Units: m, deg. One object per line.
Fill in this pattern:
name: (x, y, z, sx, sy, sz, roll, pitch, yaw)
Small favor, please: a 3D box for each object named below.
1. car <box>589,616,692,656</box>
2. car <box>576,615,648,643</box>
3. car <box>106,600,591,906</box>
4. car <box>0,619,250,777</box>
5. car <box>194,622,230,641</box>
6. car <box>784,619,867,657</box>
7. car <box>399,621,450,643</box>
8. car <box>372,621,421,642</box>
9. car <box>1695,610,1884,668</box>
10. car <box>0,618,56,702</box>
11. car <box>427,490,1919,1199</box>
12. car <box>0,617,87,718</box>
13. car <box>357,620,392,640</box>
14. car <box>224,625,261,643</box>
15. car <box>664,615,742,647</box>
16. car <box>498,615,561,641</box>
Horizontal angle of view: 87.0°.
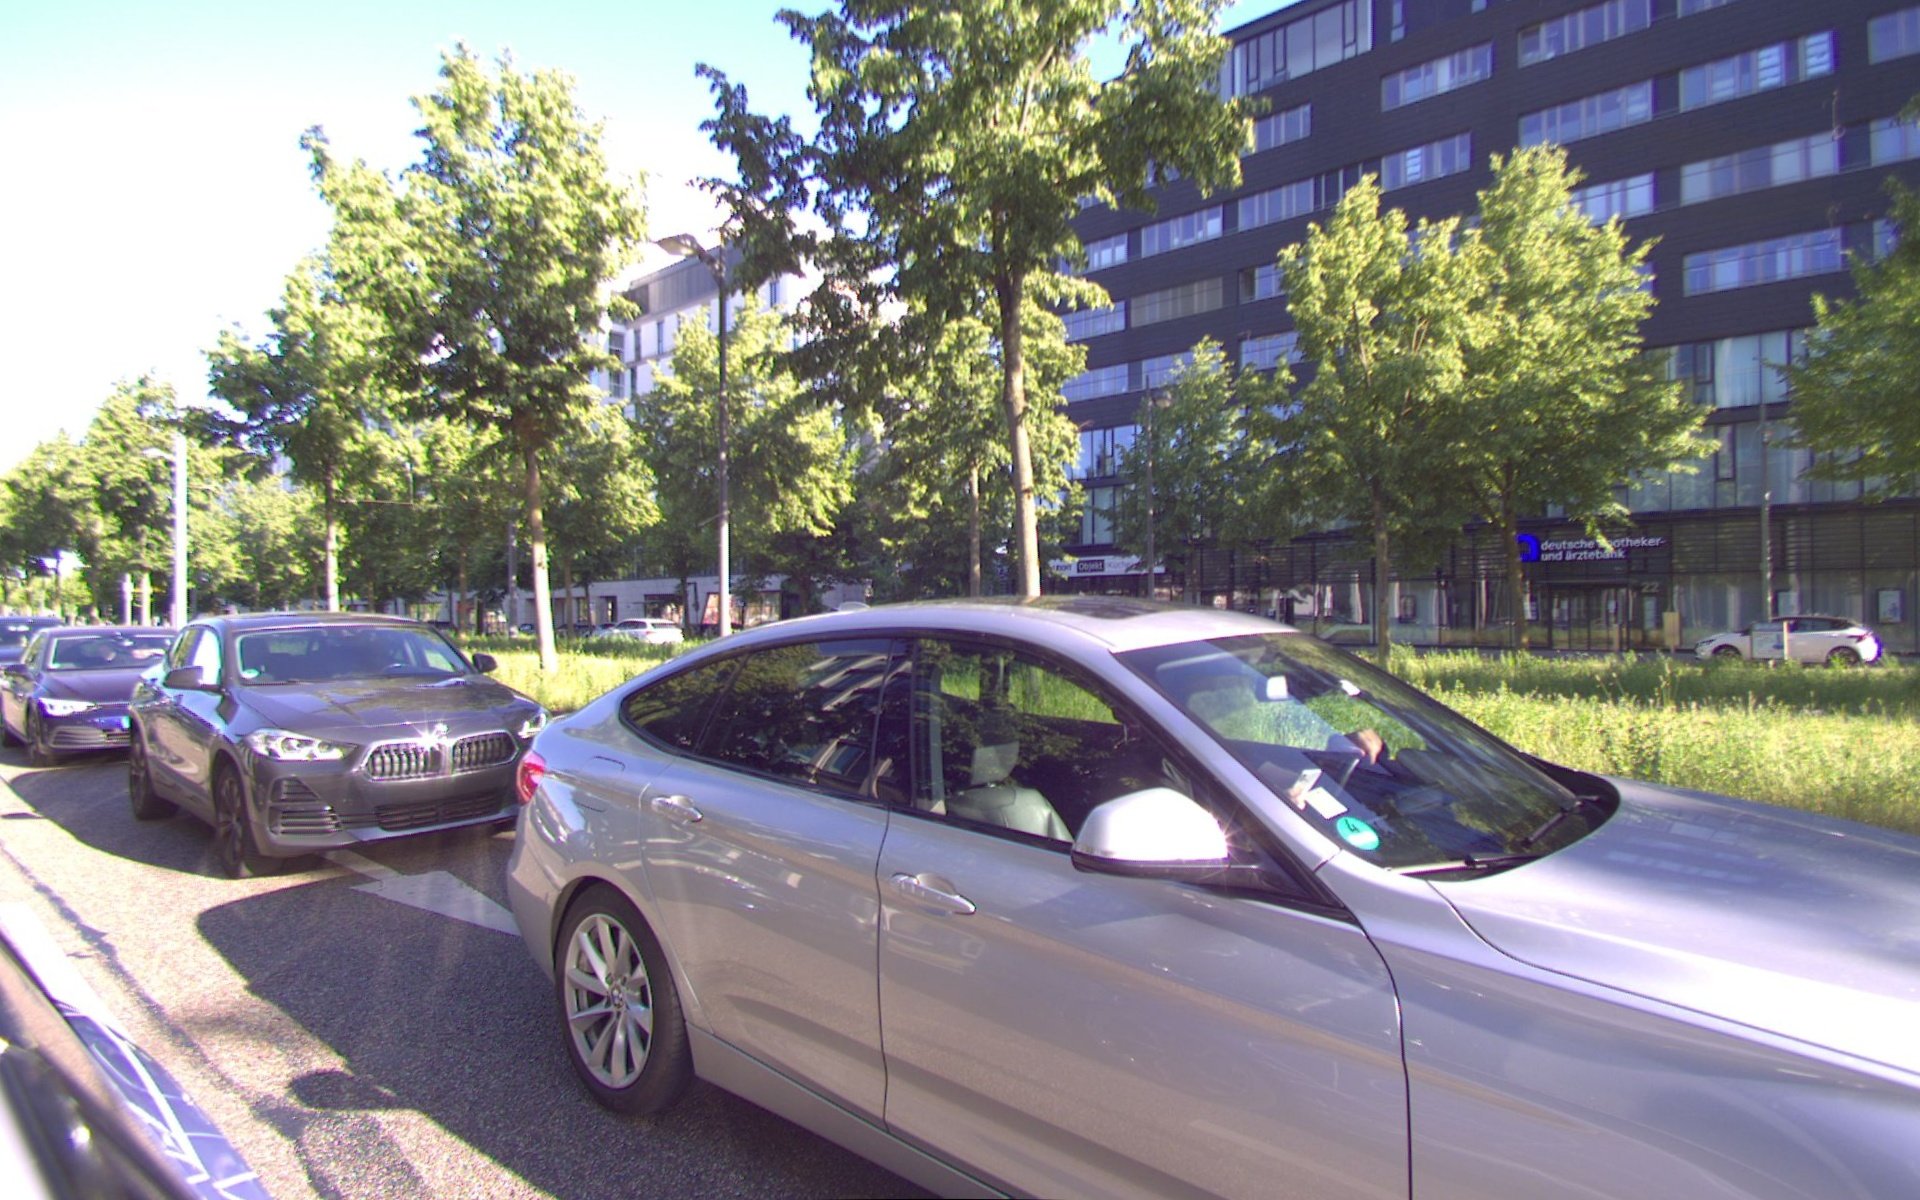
car: (-13.101, 1.438, 41.335, 4.733, 1.549, 1.834, -1, -1, 41)
car: (-21.752, 1.800, 63.244, 4.785, 1.711, 1.988, -1, -1, 38)
car: (-4.442, 0.809, 7.094, 4.027, 1.534, 1.789, -1, -1, 41)
car: (-9.825, 0.978, 11.665, 4.253, 1.465, 1.789, -1, -1, 42)
car: (-73.780, 3.095, 99.801, 4.790, 1.742, 1.834, -1, -1, 41)
car: (-6.580, 1.827, 49.382, 3.998, 1.762, 1.834, -1, -1, 41)
car: (-42.974, 2.556, 81.213, 4.788, 1.711, 1.986, -1, -1, 40)
car: (-47.359, 2.628, 85.015, 4.788, 1.711, 1.986, -1, -1, 40)
car: (23.296, 1.054, 28.502, 4.000, 1.516, 1.734, -1, -1, 43)
car: (-21.594, 1.274, 22.185, 4.788, 1.711, 1.986, -1, -1, 40)
car: (0.490, 0.663, 2.730, 4.739, 1.500, 1.790, -1, -1, 40)
car: (-16.792, 1.122, 17.739, 4.164, 1.602, 1.788, -1, -1, 42)
car: (-51.016, 2.618, 88.167, 3.741, 1.682, 1.581, -1, -1, 41)
car: (-59.752, 2.806, 84.249, 3.998, 1.403, 1.644, -1, -1, 41)
car: (-14.333, 1.708, 56.343, 4.790, 1.697, 1.834, -1, -1, 41)
car: (-29.723, 1.910, 69.819, 4.785, 1.711, 1.988, -1, -1, 38)
